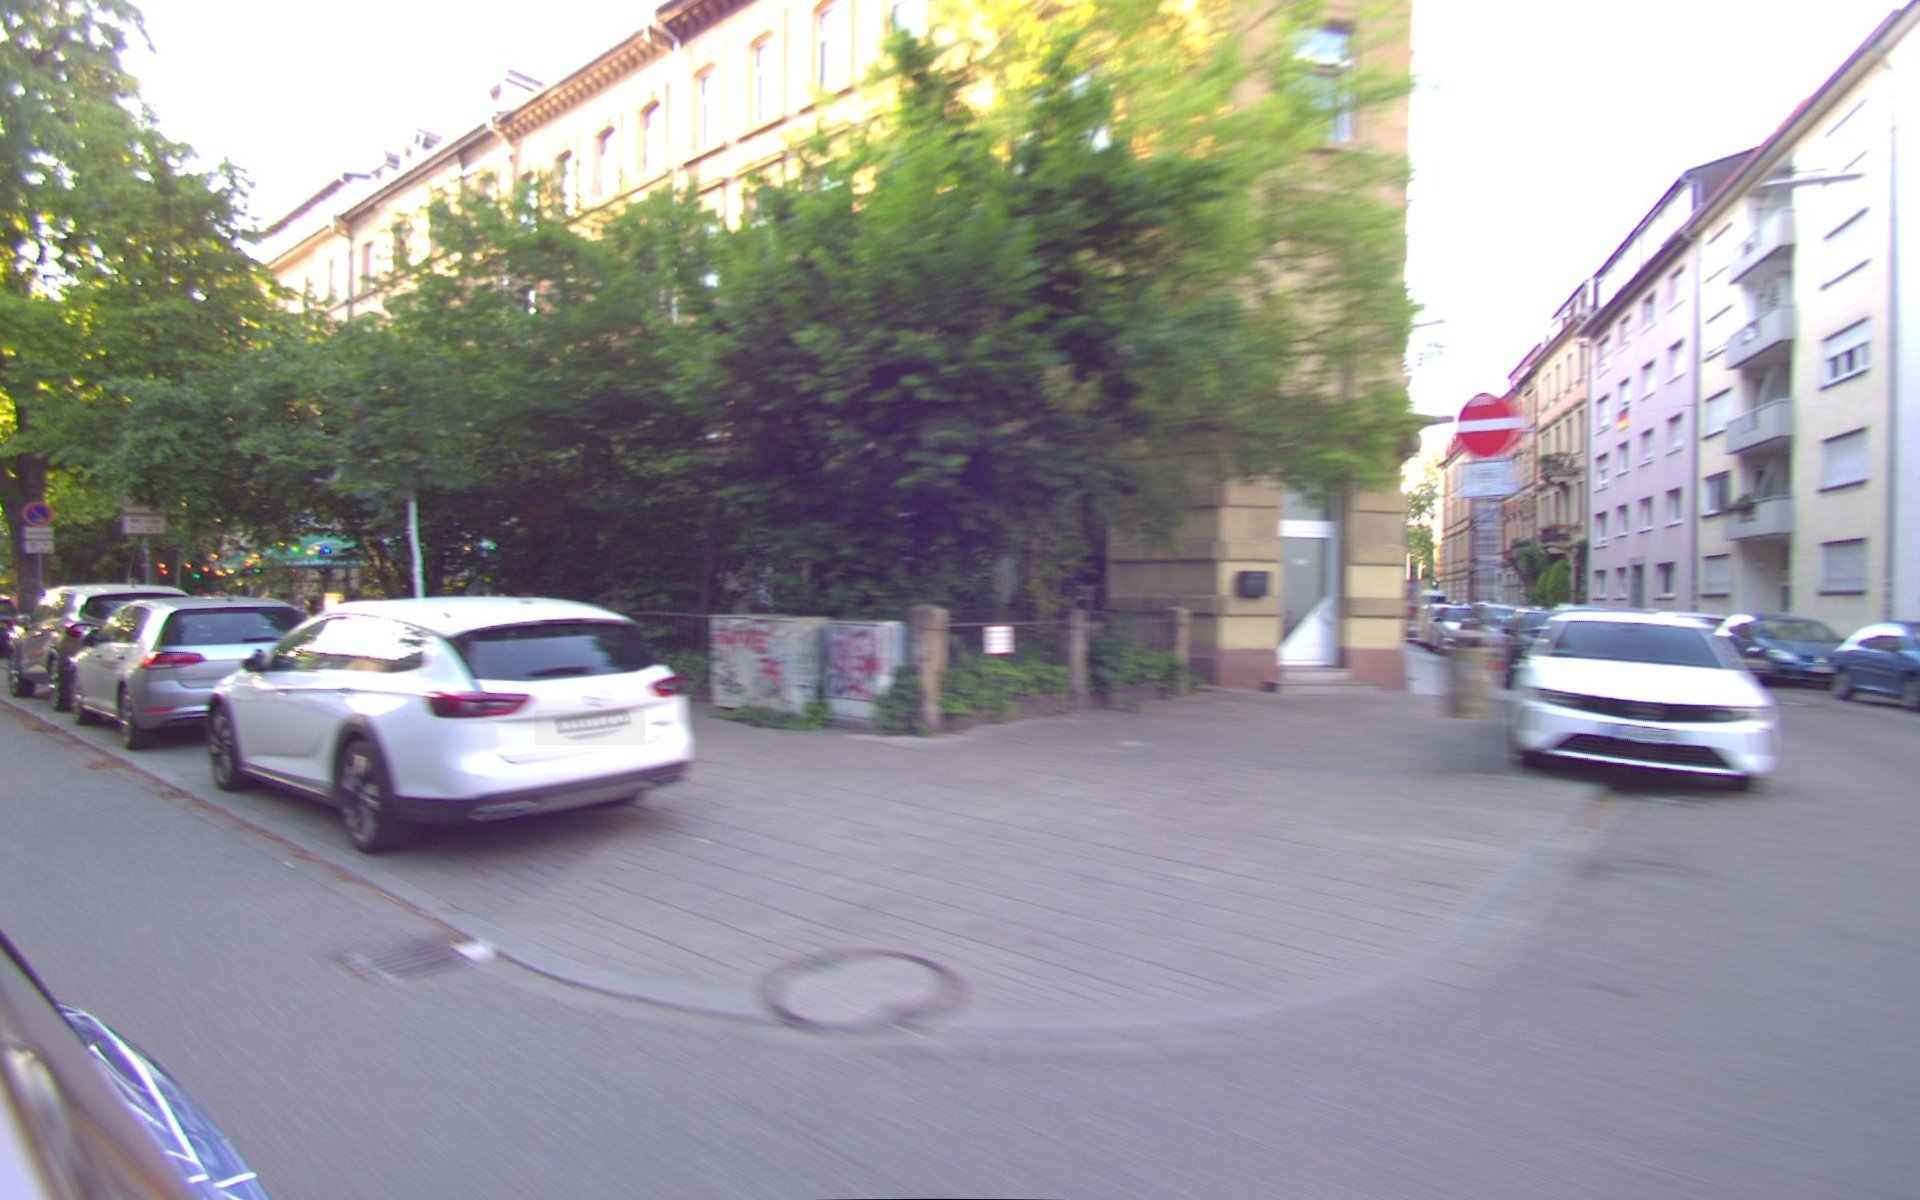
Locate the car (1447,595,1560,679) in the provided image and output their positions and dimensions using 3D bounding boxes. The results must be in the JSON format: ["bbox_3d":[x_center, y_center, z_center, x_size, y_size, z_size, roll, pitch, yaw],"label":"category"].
[{"bbox_3d":[12.221,0.779,22.980,1.697,1.659,3.848,2,0,21],"label":"car"}]

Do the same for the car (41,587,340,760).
[{"bbox_3d":[-8.555,0.633,11.105,4.399,1.513,1.673,1,1,40],"label":"car"}]

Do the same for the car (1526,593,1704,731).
[{"bbox_3d":[8.946,0.753,14.112,1.701,1.563,4.066,2,0,28],"label":"car"}]

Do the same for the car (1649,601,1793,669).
[{"bbox_3d":[19.328,0.822,25.909,1.832,1.563,4.079,0,0,20],"label":"car"}]

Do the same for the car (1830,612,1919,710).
[{"bbox_3d":[15.754,0.992,16.064,1.679,1.464,3.694,4,1,20],"label":"car"}]

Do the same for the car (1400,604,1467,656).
[{"bbox_3d":[16.031,0.972,34.424,1.697,1.563,3.848,2,0,21],"label":"car"}]

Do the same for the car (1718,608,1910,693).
[{"bbox_3d":[17.733,0.973,21.261,1.828,1.567,3.973,0,0,20],"label":"car"}]

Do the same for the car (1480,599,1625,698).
[{"bbox_3d":[10.851,0.816,18.795,1.697,1.563,3.847,2,0,21],"label":"car"}]

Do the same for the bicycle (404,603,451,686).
[{"bbox_3d":[-8.990,0.699,17.042,0.597,1.294,2.493,1,-1,-30],"label":"bicycle"}]

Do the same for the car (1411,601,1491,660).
[{"bbox_3d":[14.421,0.845,29.894,1.697,1.563,3.848,2,0,20],"label":"car"}]

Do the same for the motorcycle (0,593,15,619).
[{"bbox_3d":[-45.353,0.257,48.205,0.386,1.194,1.960,-2,1,-40],"label":"motorcycle"}]

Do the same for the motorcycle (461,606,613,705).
[{"bbox_3d":[-5.642,0.680,13.359,2.889,1.165,0.576,0,-1,40],"label":"motorcycle"}]

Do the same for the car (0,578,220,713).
[{"bbox_3d":[-12.074,0.544,14.157,4.397,1.575,1.673,0,2,39],"label":"car"}]

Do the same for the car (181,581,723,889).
[{"bbox_3d":[-3.876,0.681,7.271,4.733,1.513,1.673,0,2,39],"label":"car"}]

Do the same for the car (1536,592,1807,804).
[{"bbox_3d":[6.593,0.762,9.818,1.702,1.564,4.421,-1,-1,30],"label":"car"}]

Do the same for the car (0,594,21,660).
[{"bbox_3d":[-23.394,0.611,23.693,3.689,1.497,1.536,0,-1,39],"label":"car"}]

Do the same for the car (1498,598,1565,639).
[{"bbox_3d":[25.851,0.803,45.896,1.985,1.785,3.974,0,0,20],"label":"car"}]
